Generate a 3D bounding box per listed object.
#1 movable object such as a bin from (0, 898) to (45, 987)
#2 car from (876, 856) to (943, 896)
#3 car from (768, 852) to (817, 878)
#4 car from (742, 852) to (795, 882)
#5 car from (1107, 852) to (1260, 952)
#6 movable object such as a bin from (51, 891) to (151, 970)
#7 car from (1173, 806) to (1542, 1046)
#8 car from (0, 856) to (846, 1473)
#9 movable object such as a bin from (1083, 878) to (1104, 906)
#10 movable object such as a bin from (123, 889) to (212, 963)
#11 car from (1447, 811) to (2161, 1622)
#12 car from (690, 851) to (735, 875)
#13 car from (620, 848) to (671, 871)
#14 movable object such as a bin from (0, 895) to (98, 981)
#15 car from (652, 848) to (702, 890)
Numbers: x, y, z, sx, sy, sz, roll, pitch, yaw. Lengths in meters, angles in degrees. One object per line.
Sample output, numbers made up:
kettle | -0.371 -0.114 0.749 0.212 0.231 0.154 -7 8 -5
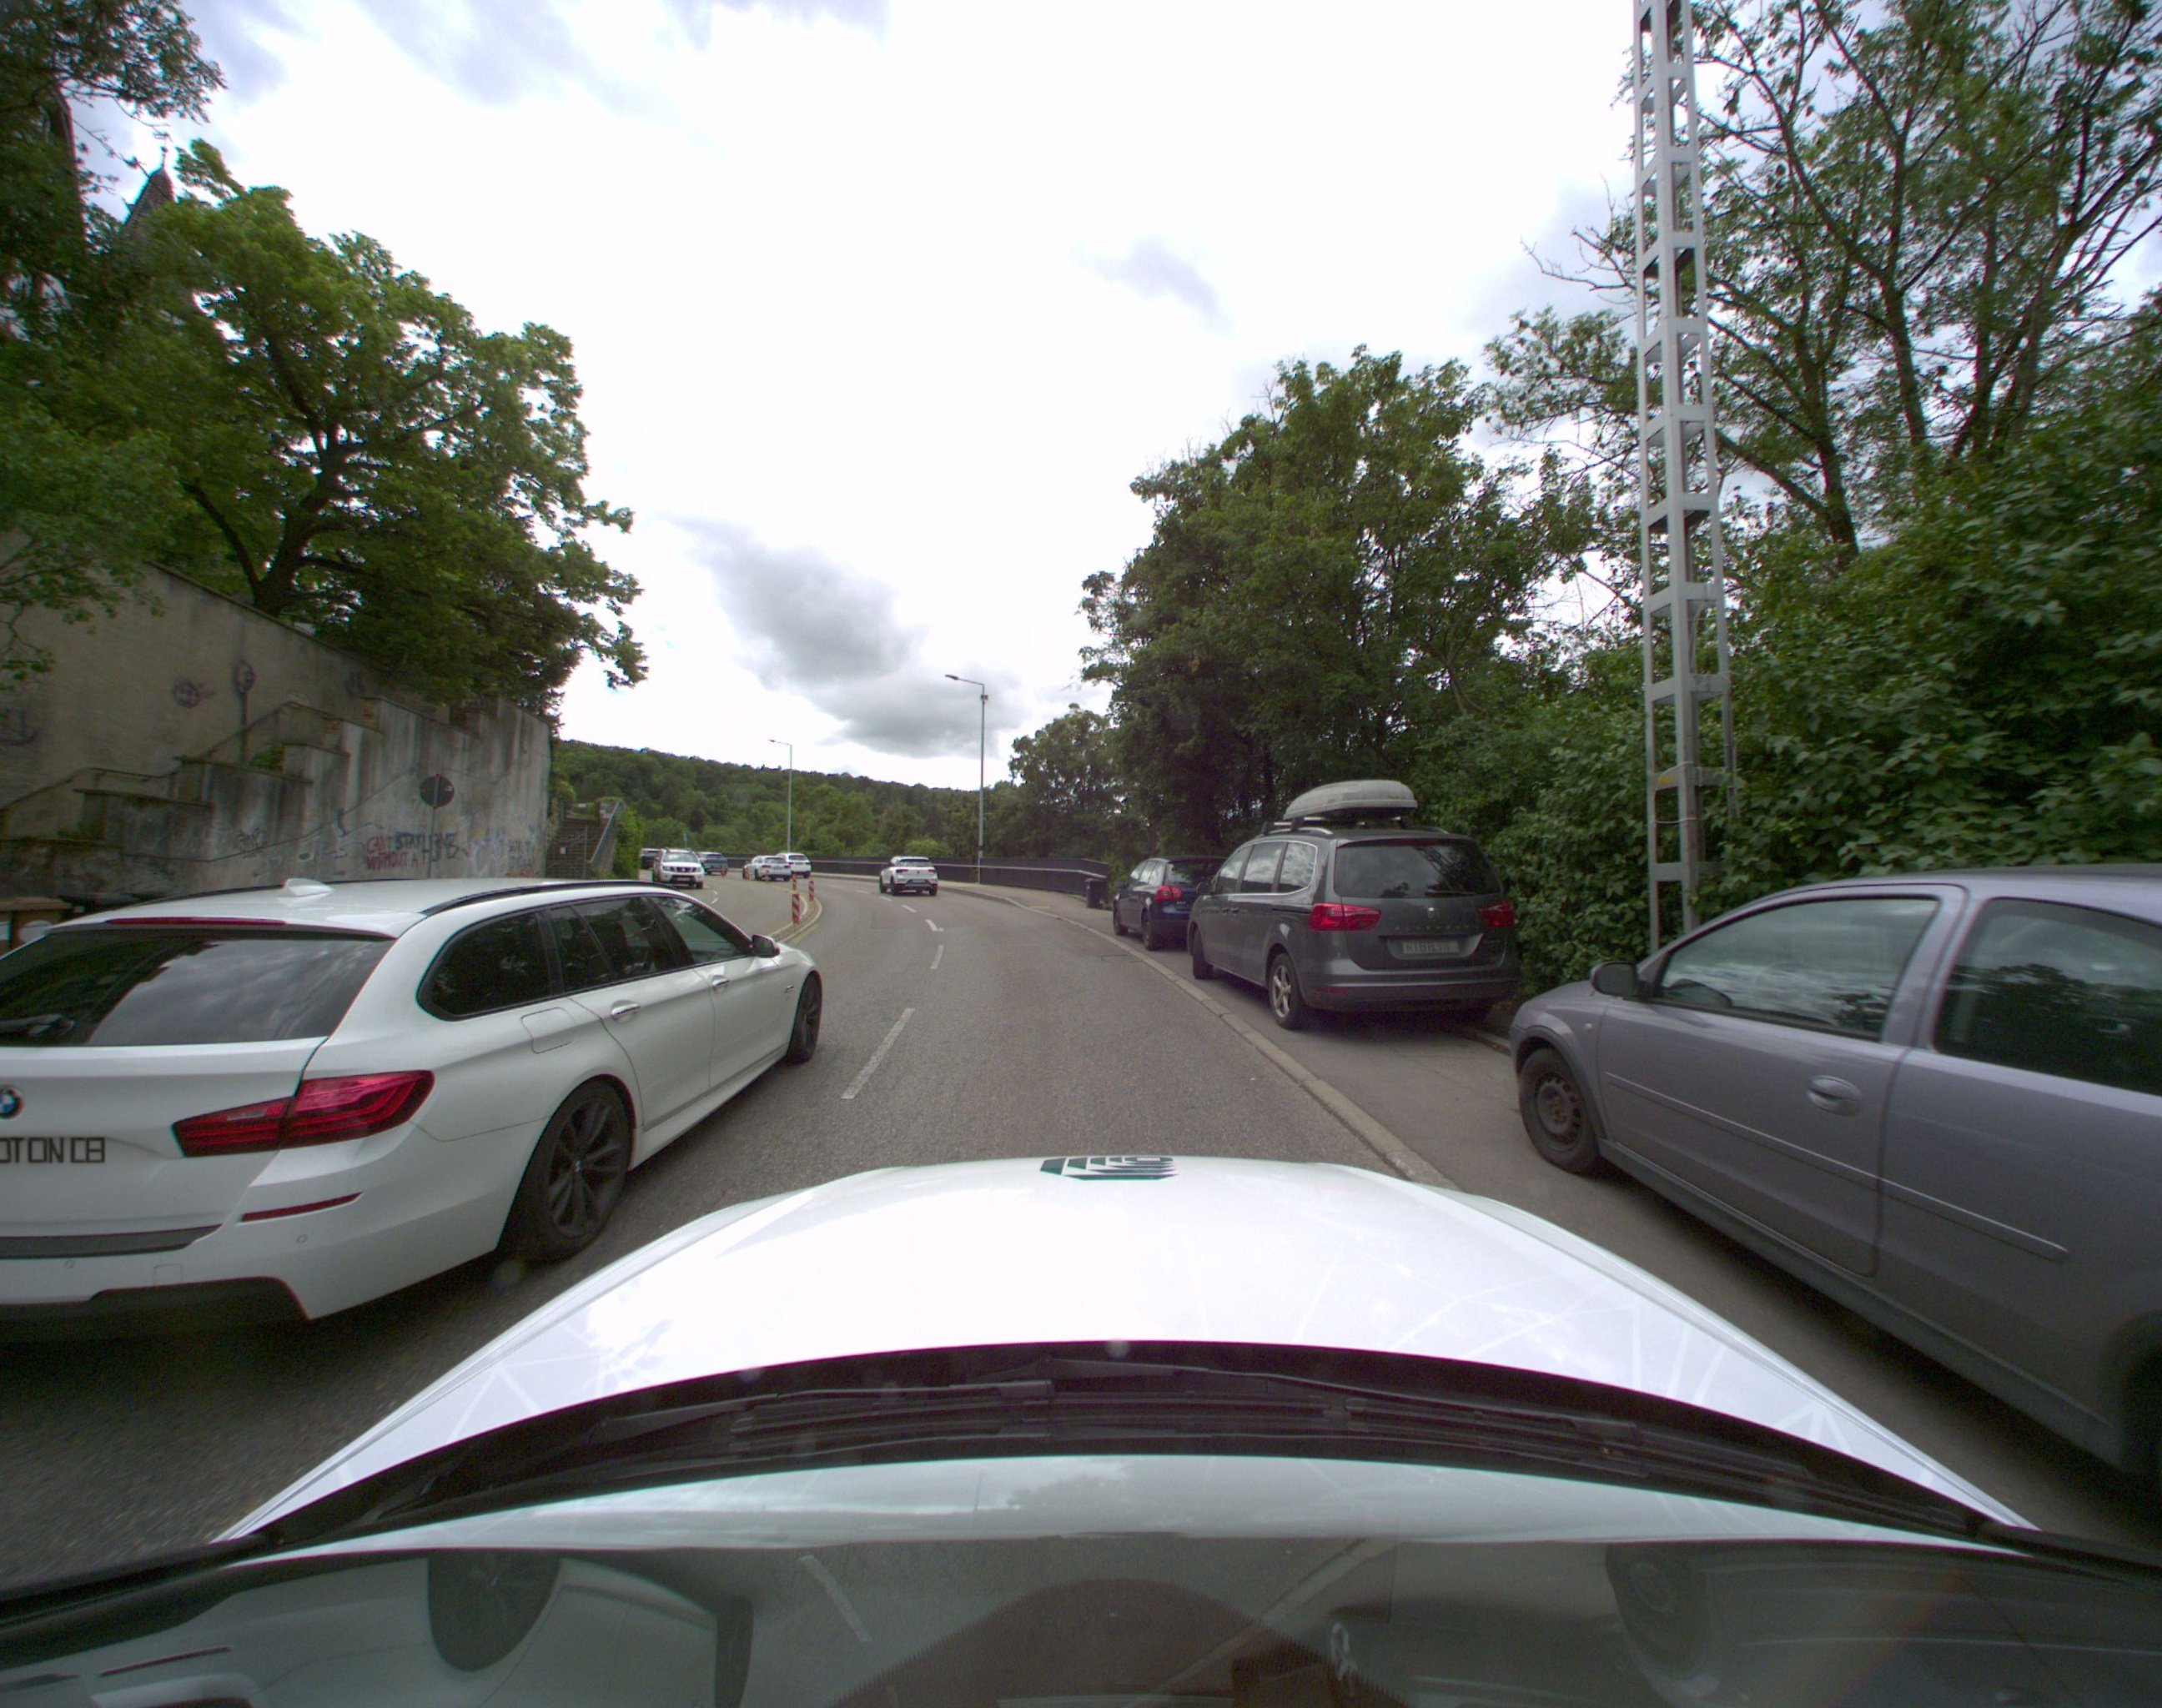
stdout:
movable object such as a bin | -12.277 0.987 9.107 0.606 0.949 0.555 2 -1 -8
car | -7.087 0.861 33.433 1.876 1.536 3.771 1 -1 -26
car | -19.046 0.718 53.709 2.008 1.586 3.957 2 0 -35
car | -18.239 0.736 47.455 1.920 1.574 3.957 2 0 -35
car | 1.628 0.731 14.293 1.659 1.487 4.023 1 0 -8
movable object such as a bin | -12.480 0.968 10.390 0.542 0.949 0.565 2 -1 -8
car | 2.377 0.536 8.438 1.797 1.772 4.596 0 0 -7
car | -2.868 0.775 4.419 1.843 1.467 4.875 2 0 -2
movable object such as a bin | 0.399 1.212 25.942 0.521 0.881 0.529 2 -1 -18
movable object such as a bin | -12.476 0.972 11.141 0.542 0.949 0.565 2 -1 -8
car | 2.858 0.668 2.790 1.634 1.464 4.004 0 0 4
car | -25.673 0.591 56.734 2.009 1.541 3.966 2 0 -37
car | -34.349 0.449 64.213 3.949 1.689 1.833 1 -1 33
movable object such as a bin | -12.357 0.987 9.669 0.606 0.949 0.579 2 -1 -8
car | -19.098 0.641 38.378 1.922 1.828 5.258 0 0 -29
